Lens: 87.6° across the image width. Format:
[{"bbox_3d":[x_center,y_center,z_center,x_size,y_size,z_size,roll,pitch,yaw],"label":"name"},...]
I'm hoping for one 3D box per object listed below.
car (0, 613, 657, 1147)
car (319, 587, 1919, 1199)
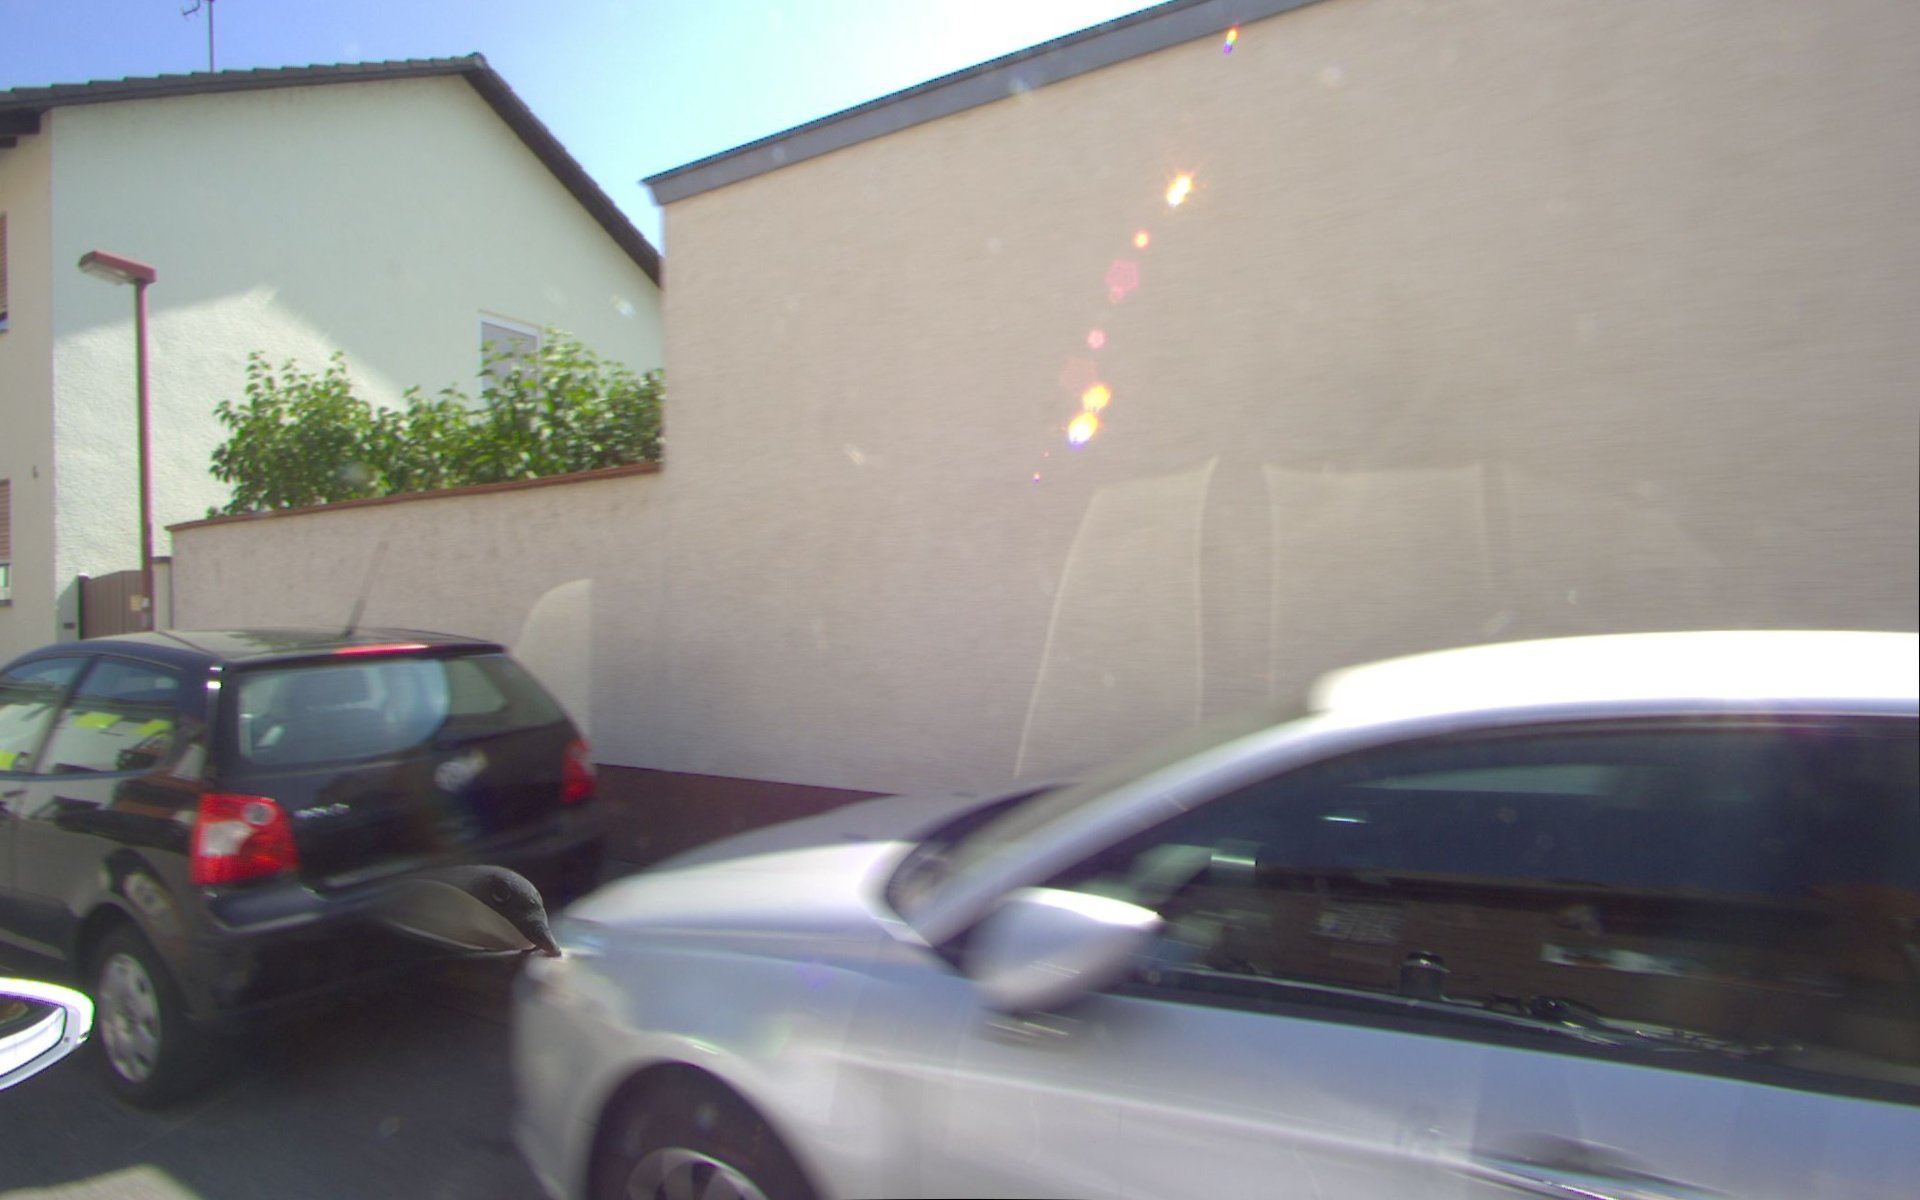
[{"bbox_3d":[-3.439,0.810,4.466,4.072,1.455,1.647,-1,-1,30],"label":"car"},{"bbox_3d":[1.037,0.752,1.903,4.861,1.501,1.787,-1,1,31],"label":"car"}]
